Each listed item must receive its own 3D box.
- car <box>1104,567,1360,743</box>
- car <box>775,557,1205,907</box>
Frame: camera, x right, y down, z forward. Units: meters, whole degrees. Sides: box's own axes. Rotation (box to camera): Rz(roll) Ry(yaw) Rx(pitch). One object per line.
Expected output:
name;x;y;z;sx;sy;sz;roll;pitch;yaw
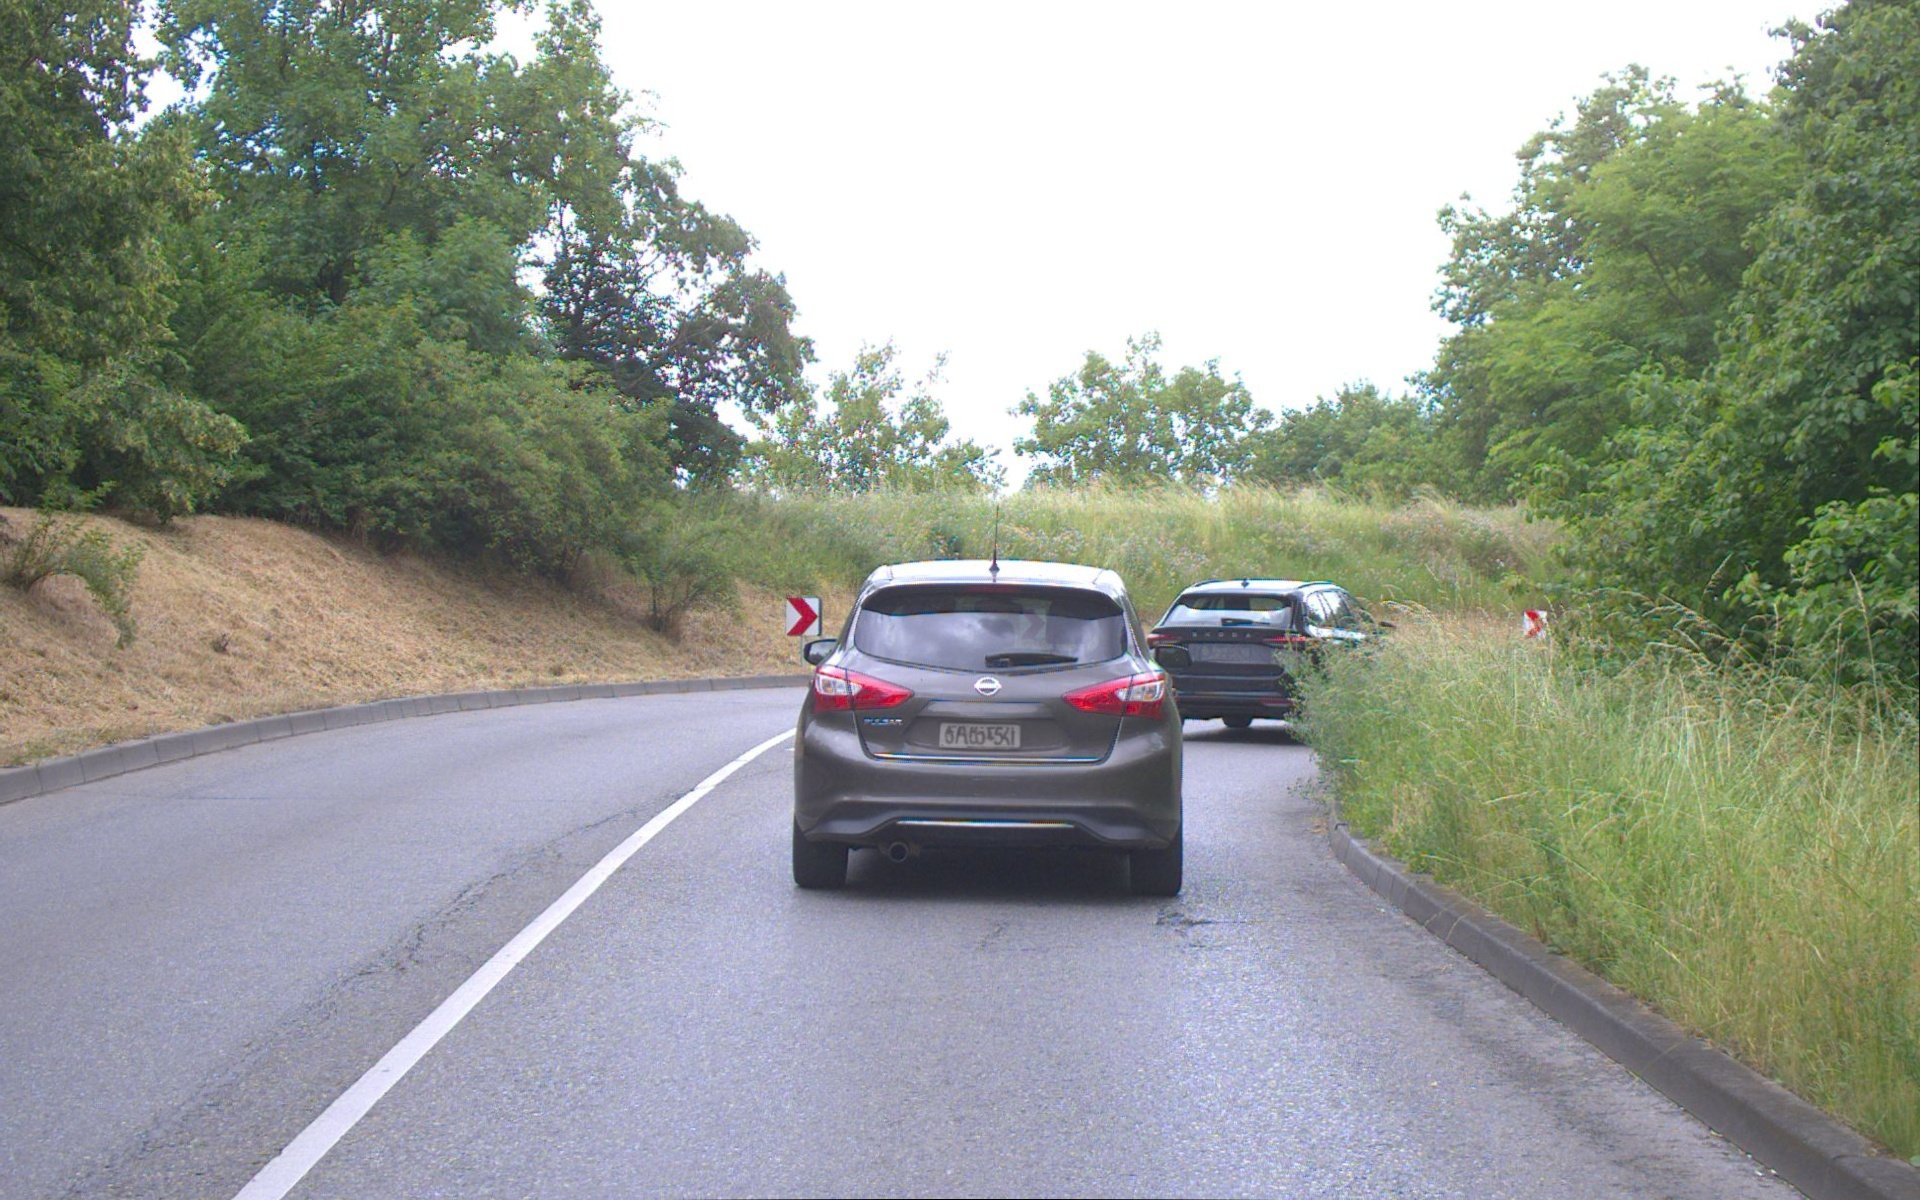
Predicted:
car;2.606;0.463;32.146;1.901;1.461;3.998;1;1;11
car;0.079;0.546;16.859;1.844;1.488;4.000;0;1;-1
